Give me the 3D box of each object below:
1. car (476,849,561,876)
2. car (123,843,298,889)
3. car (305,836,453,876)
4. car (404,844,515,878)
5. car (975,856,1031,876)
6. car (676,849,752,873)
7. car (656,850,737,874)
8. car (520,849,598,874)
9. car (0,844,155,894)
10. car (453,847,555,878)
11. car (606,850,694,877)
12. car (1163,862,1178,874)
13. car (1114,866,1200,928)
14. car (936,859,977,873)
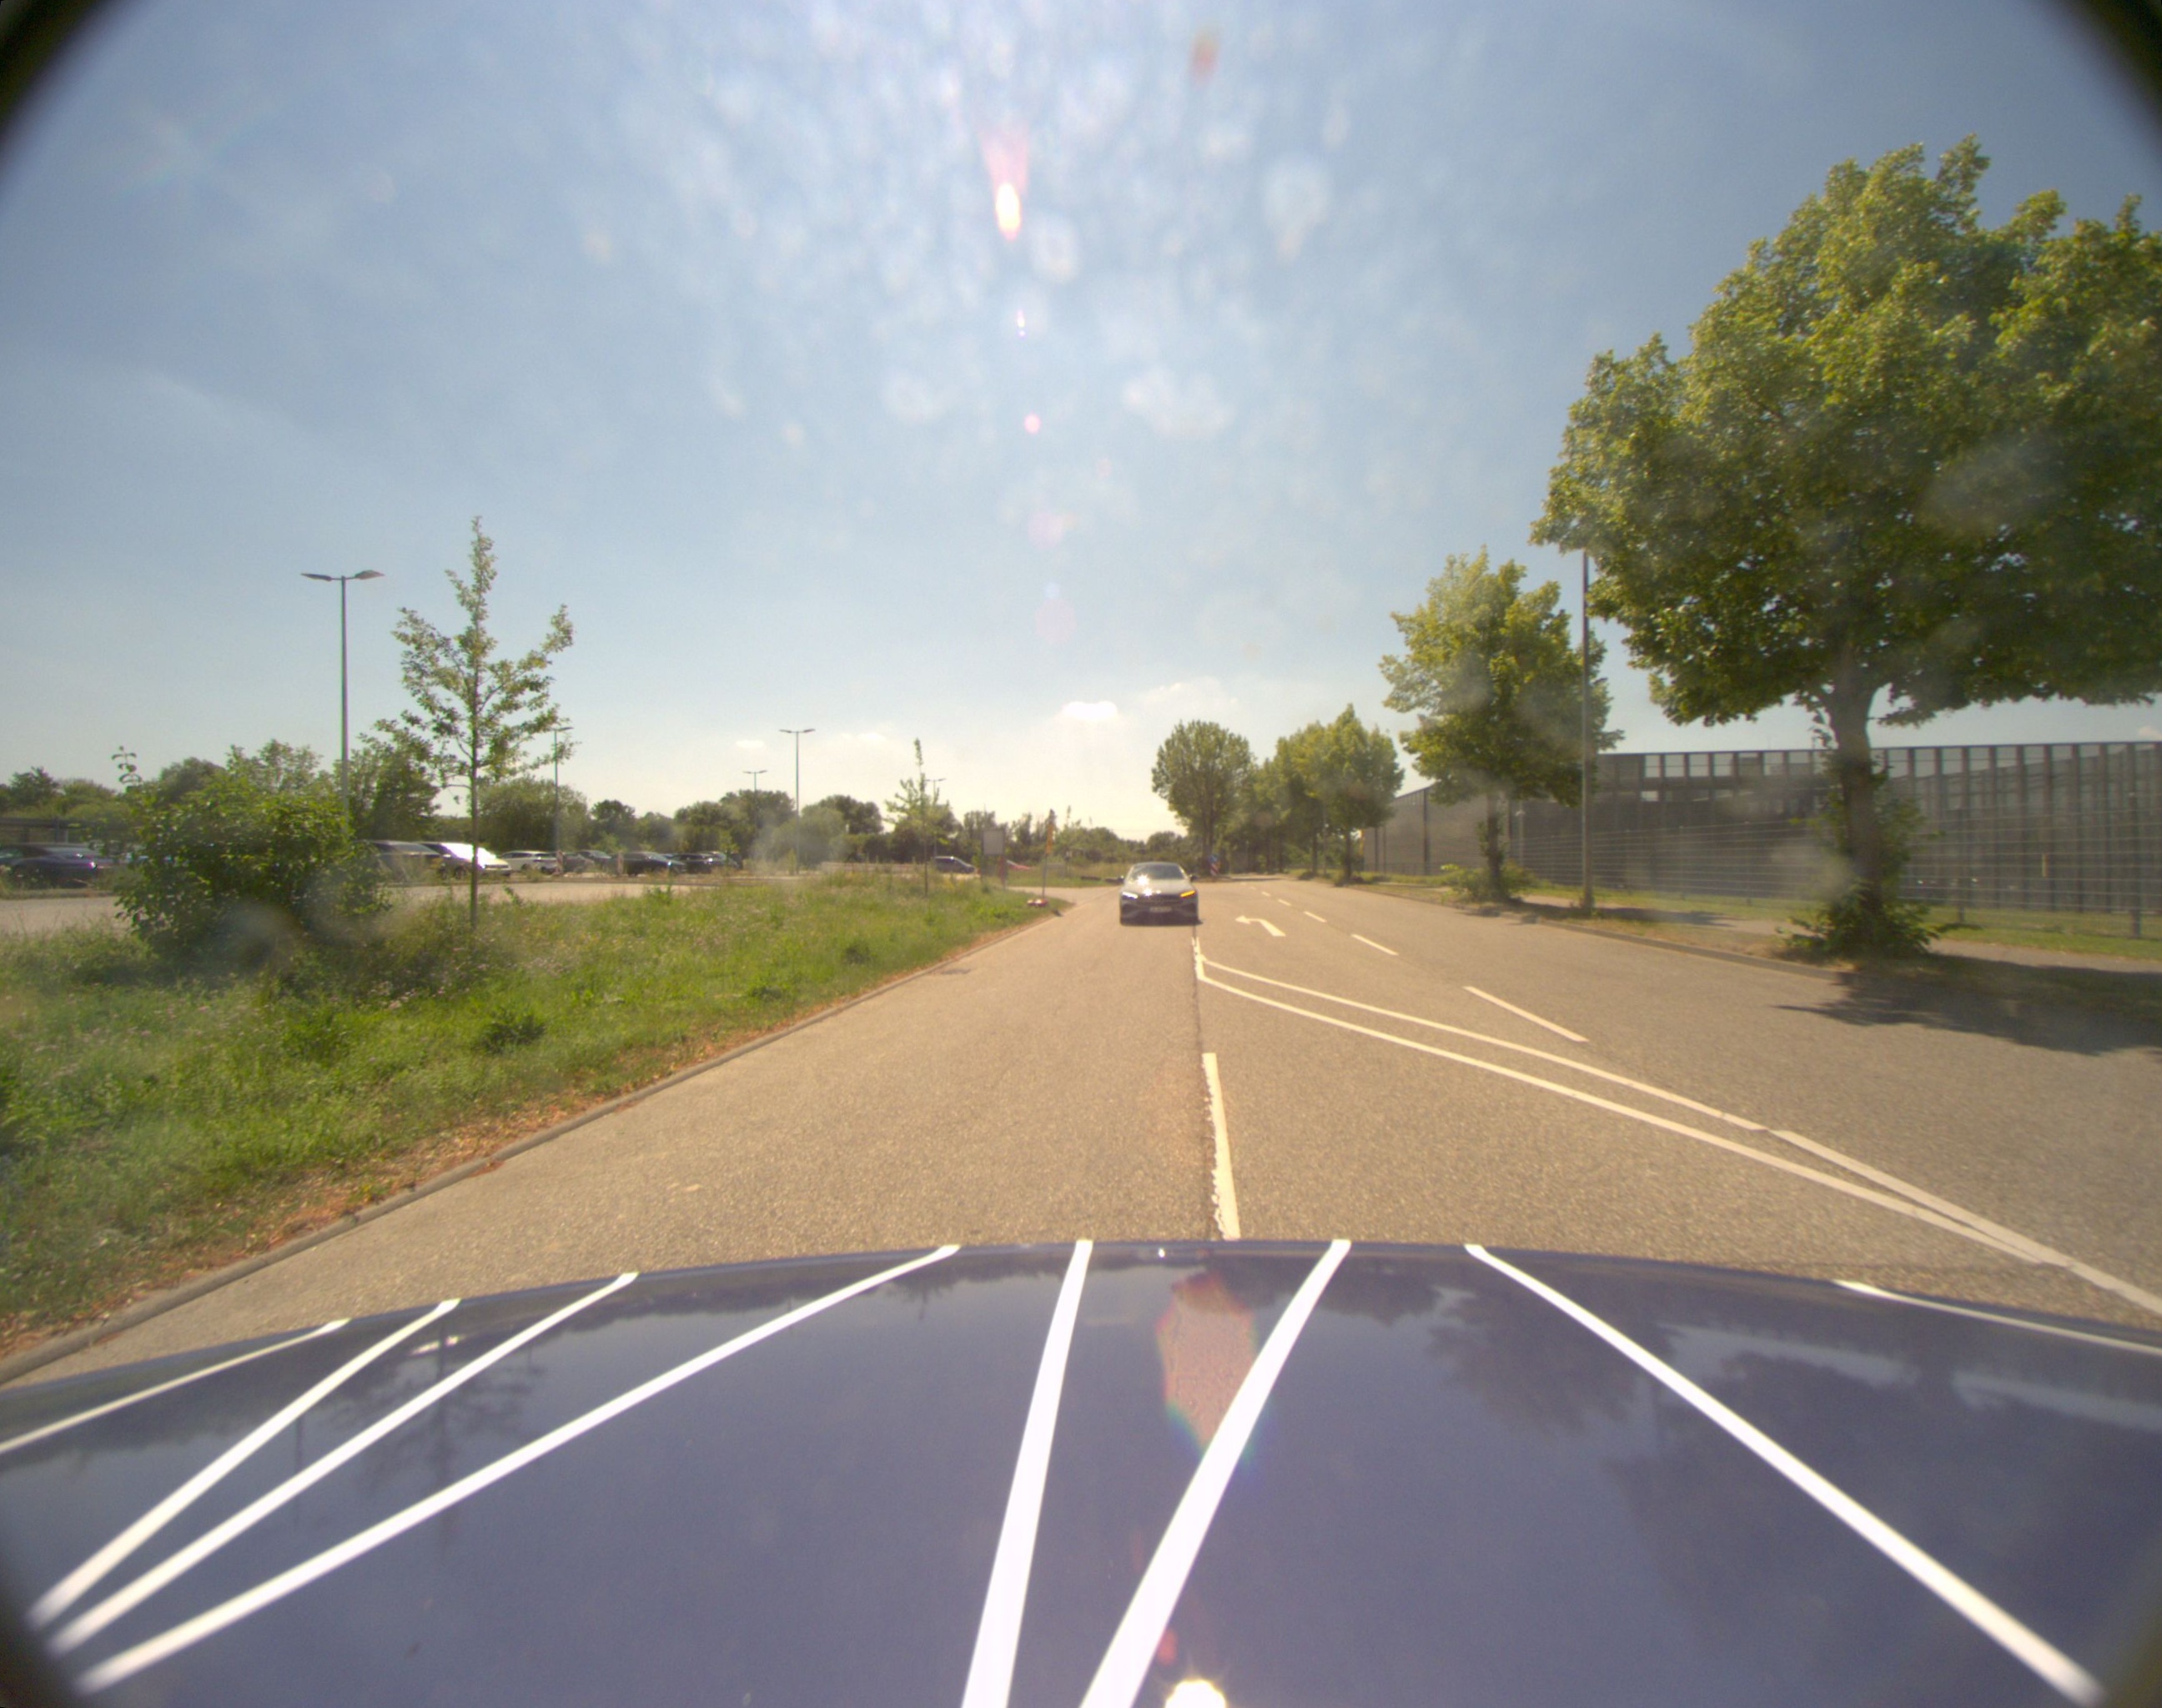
[{"bbox_3d":[-34.300,0.488,46.402,3.996,1.459,1.647,-2,1,4],"label":"car"},{"bbox_3d":[-26.550,0.352,23.233,3.844,1.229,1.611,2,0,7],"label":"car"},{"bbox_3d":[-25.681,0.077,27.837,4.296,1.289,1.559,2,0,7],"label":"car"},{"bbox_3d":[-25.100,0.279,30.743,3.458,1.216,1.466,2,0,7],"label":"car"},{"bbox_3d":[-5.908,0.927,57.854,3.996,1.343,1.647,-2,1,4],"label":"car"},{"bbox_3d":[-23.308,0.405,48.282,3.996,1.343,1.647,-2,1,4],"label":"car"},{"bbox_3d":[-23.046,0.473,45.600,3.996,1.343,1.647,1,0,4],"label":"car"},{"bbox_3d":[-34.196,0.509,49.855,3.996,1.459,1.647,-2,1,4],"label":"car"},{"bbox_3d":[-26.616,0.377,19.775,3.457,1.156,1.559,2,0,7],"label":"car"},{"bbox_3d":[-25.053,0.375,33.031,3.458,1.216,1.466,2,0,7],"label":"car"},{"bbox_3d":[-24.294,0.503,42.882,3.996,1.343,1.647,-2,1,4],"label":"car"},{"bbox_3d":[11.569,1.758,97.979,1.671,1.366,4.500,-3,0,9],"label":"car"},{"bbox_3d":[1.955,1.012,19.494,1.896,1.375,4.636,-1,-1,6],"label":"car"},{"bbox_3d":[-13.090,1.260,80.027,3.996,1.343,1.647,-2,1,4],"label":"car"}]
